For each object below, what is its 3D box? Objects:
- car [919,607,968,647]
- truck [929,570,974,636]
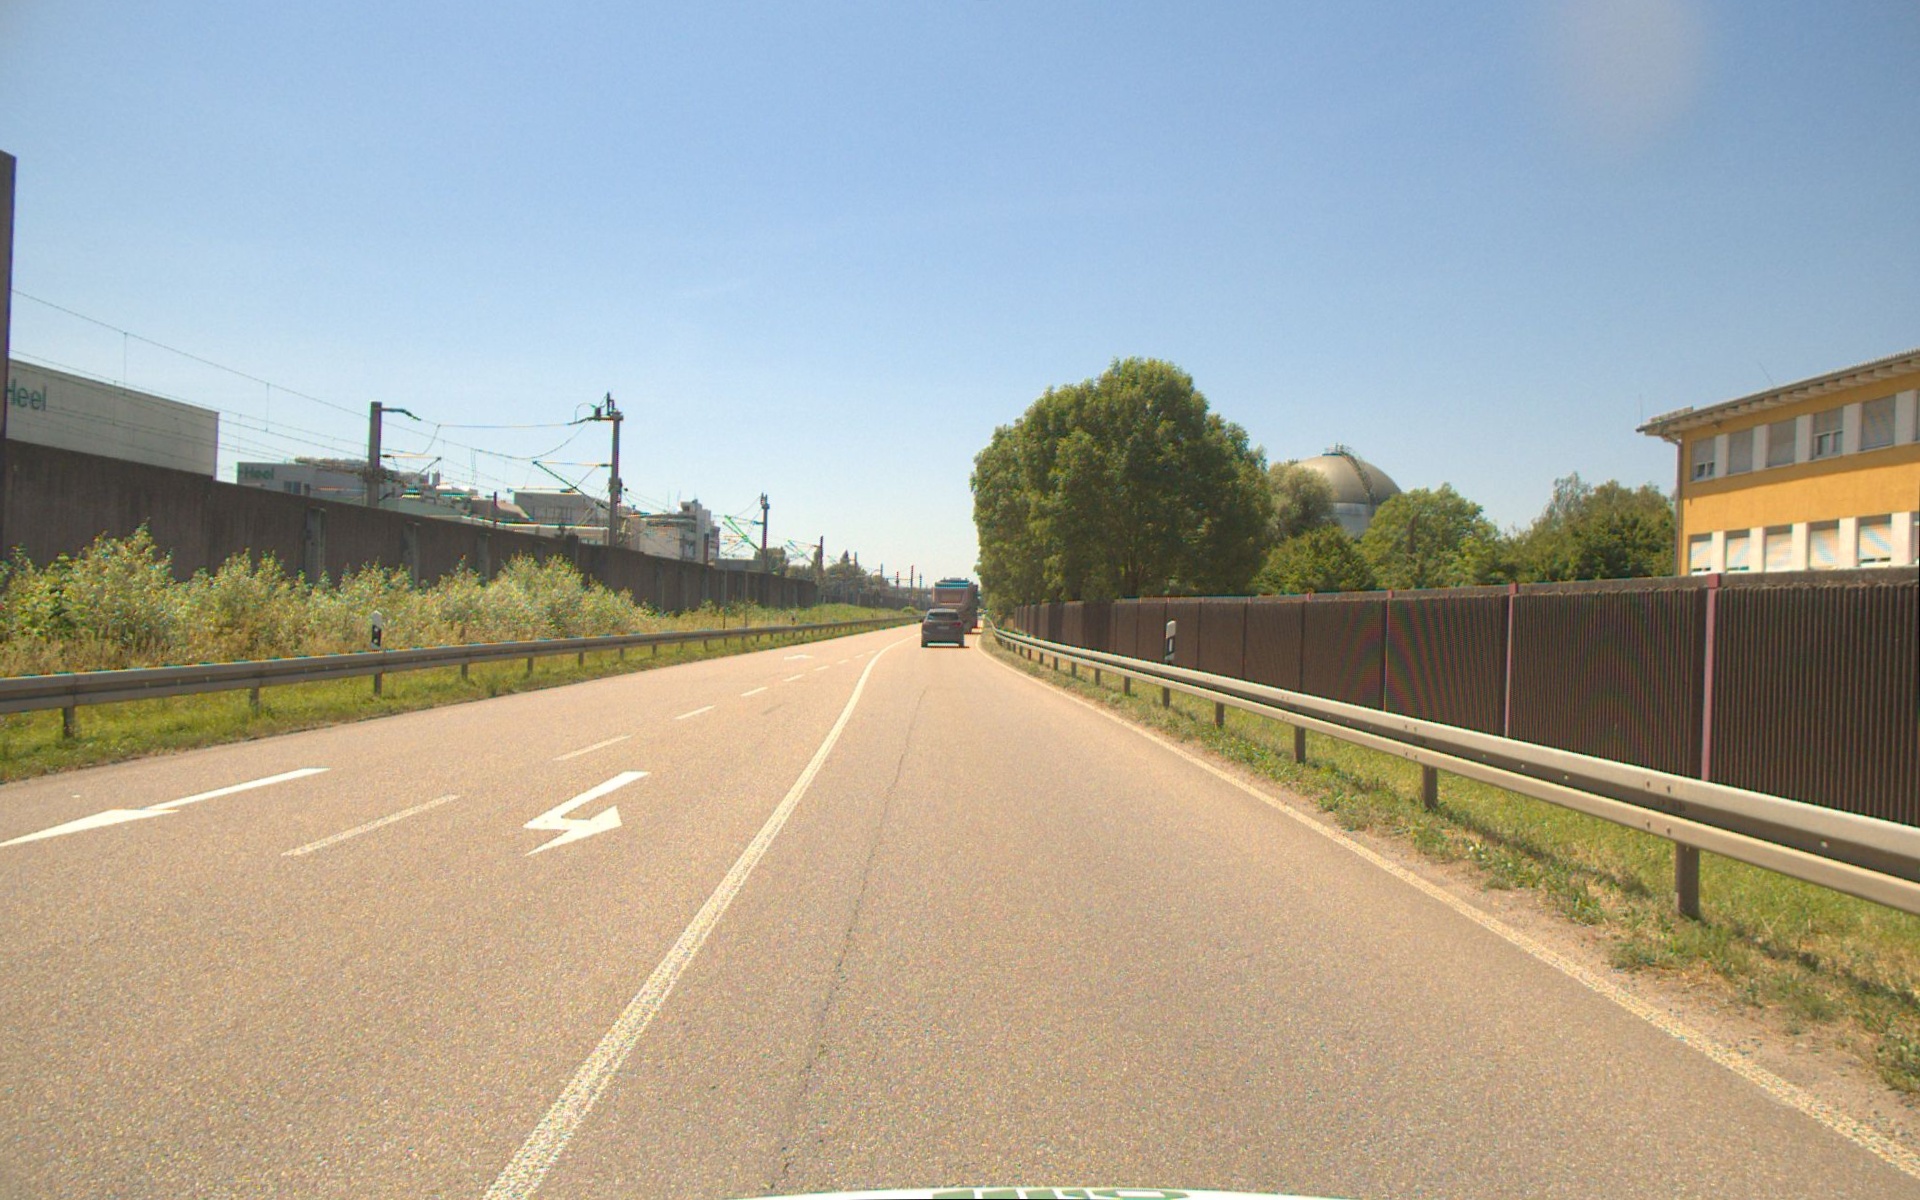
[{"bbox_3d":[-0.669,1.151,69.020,1.953,1.529,3.999,2,-2,0],"label":"car"},{"bbox_3d":[-0.546,0.330,113.671,2.934,4.254,11.806,1,-1,0],"label":"truck"}]
